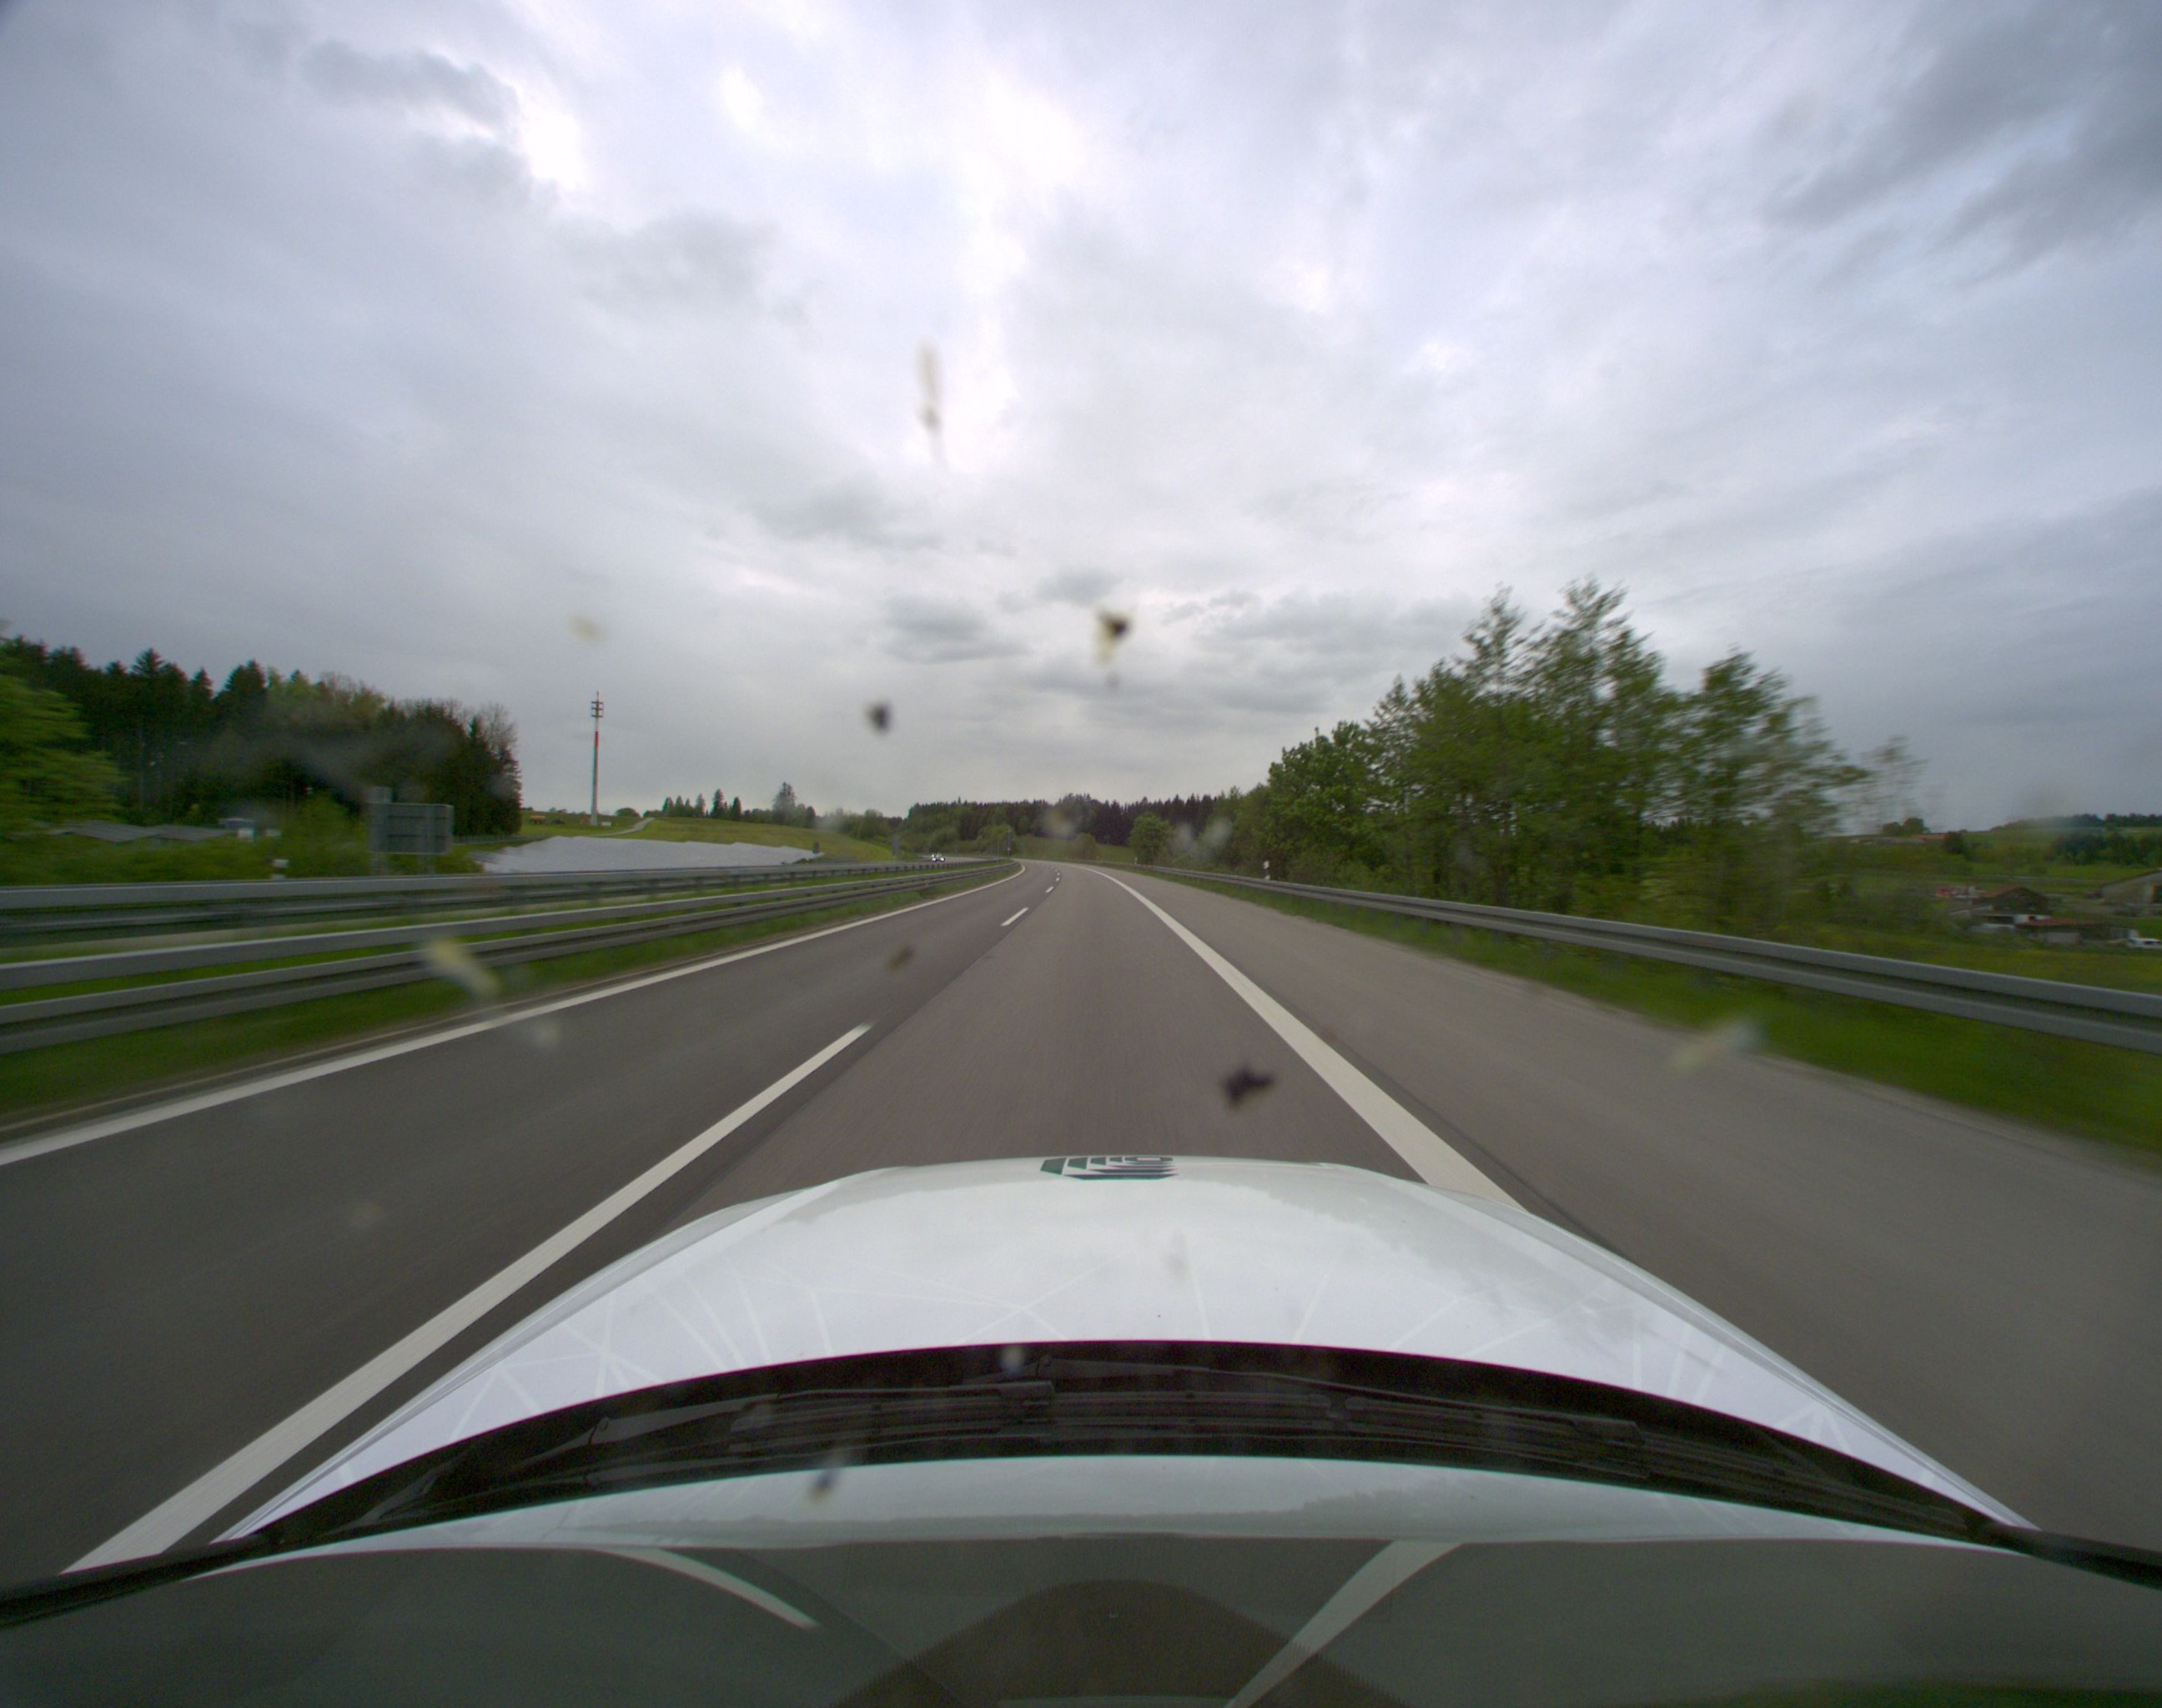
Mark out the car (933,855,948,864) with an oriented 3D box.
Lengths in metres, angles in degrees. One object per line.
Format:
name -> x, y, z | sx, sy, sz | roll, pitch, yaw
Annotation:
car -> -24.505, 1.001, 142.029 | 1.990, 1.498, 4.145 | 3, 0, -4
